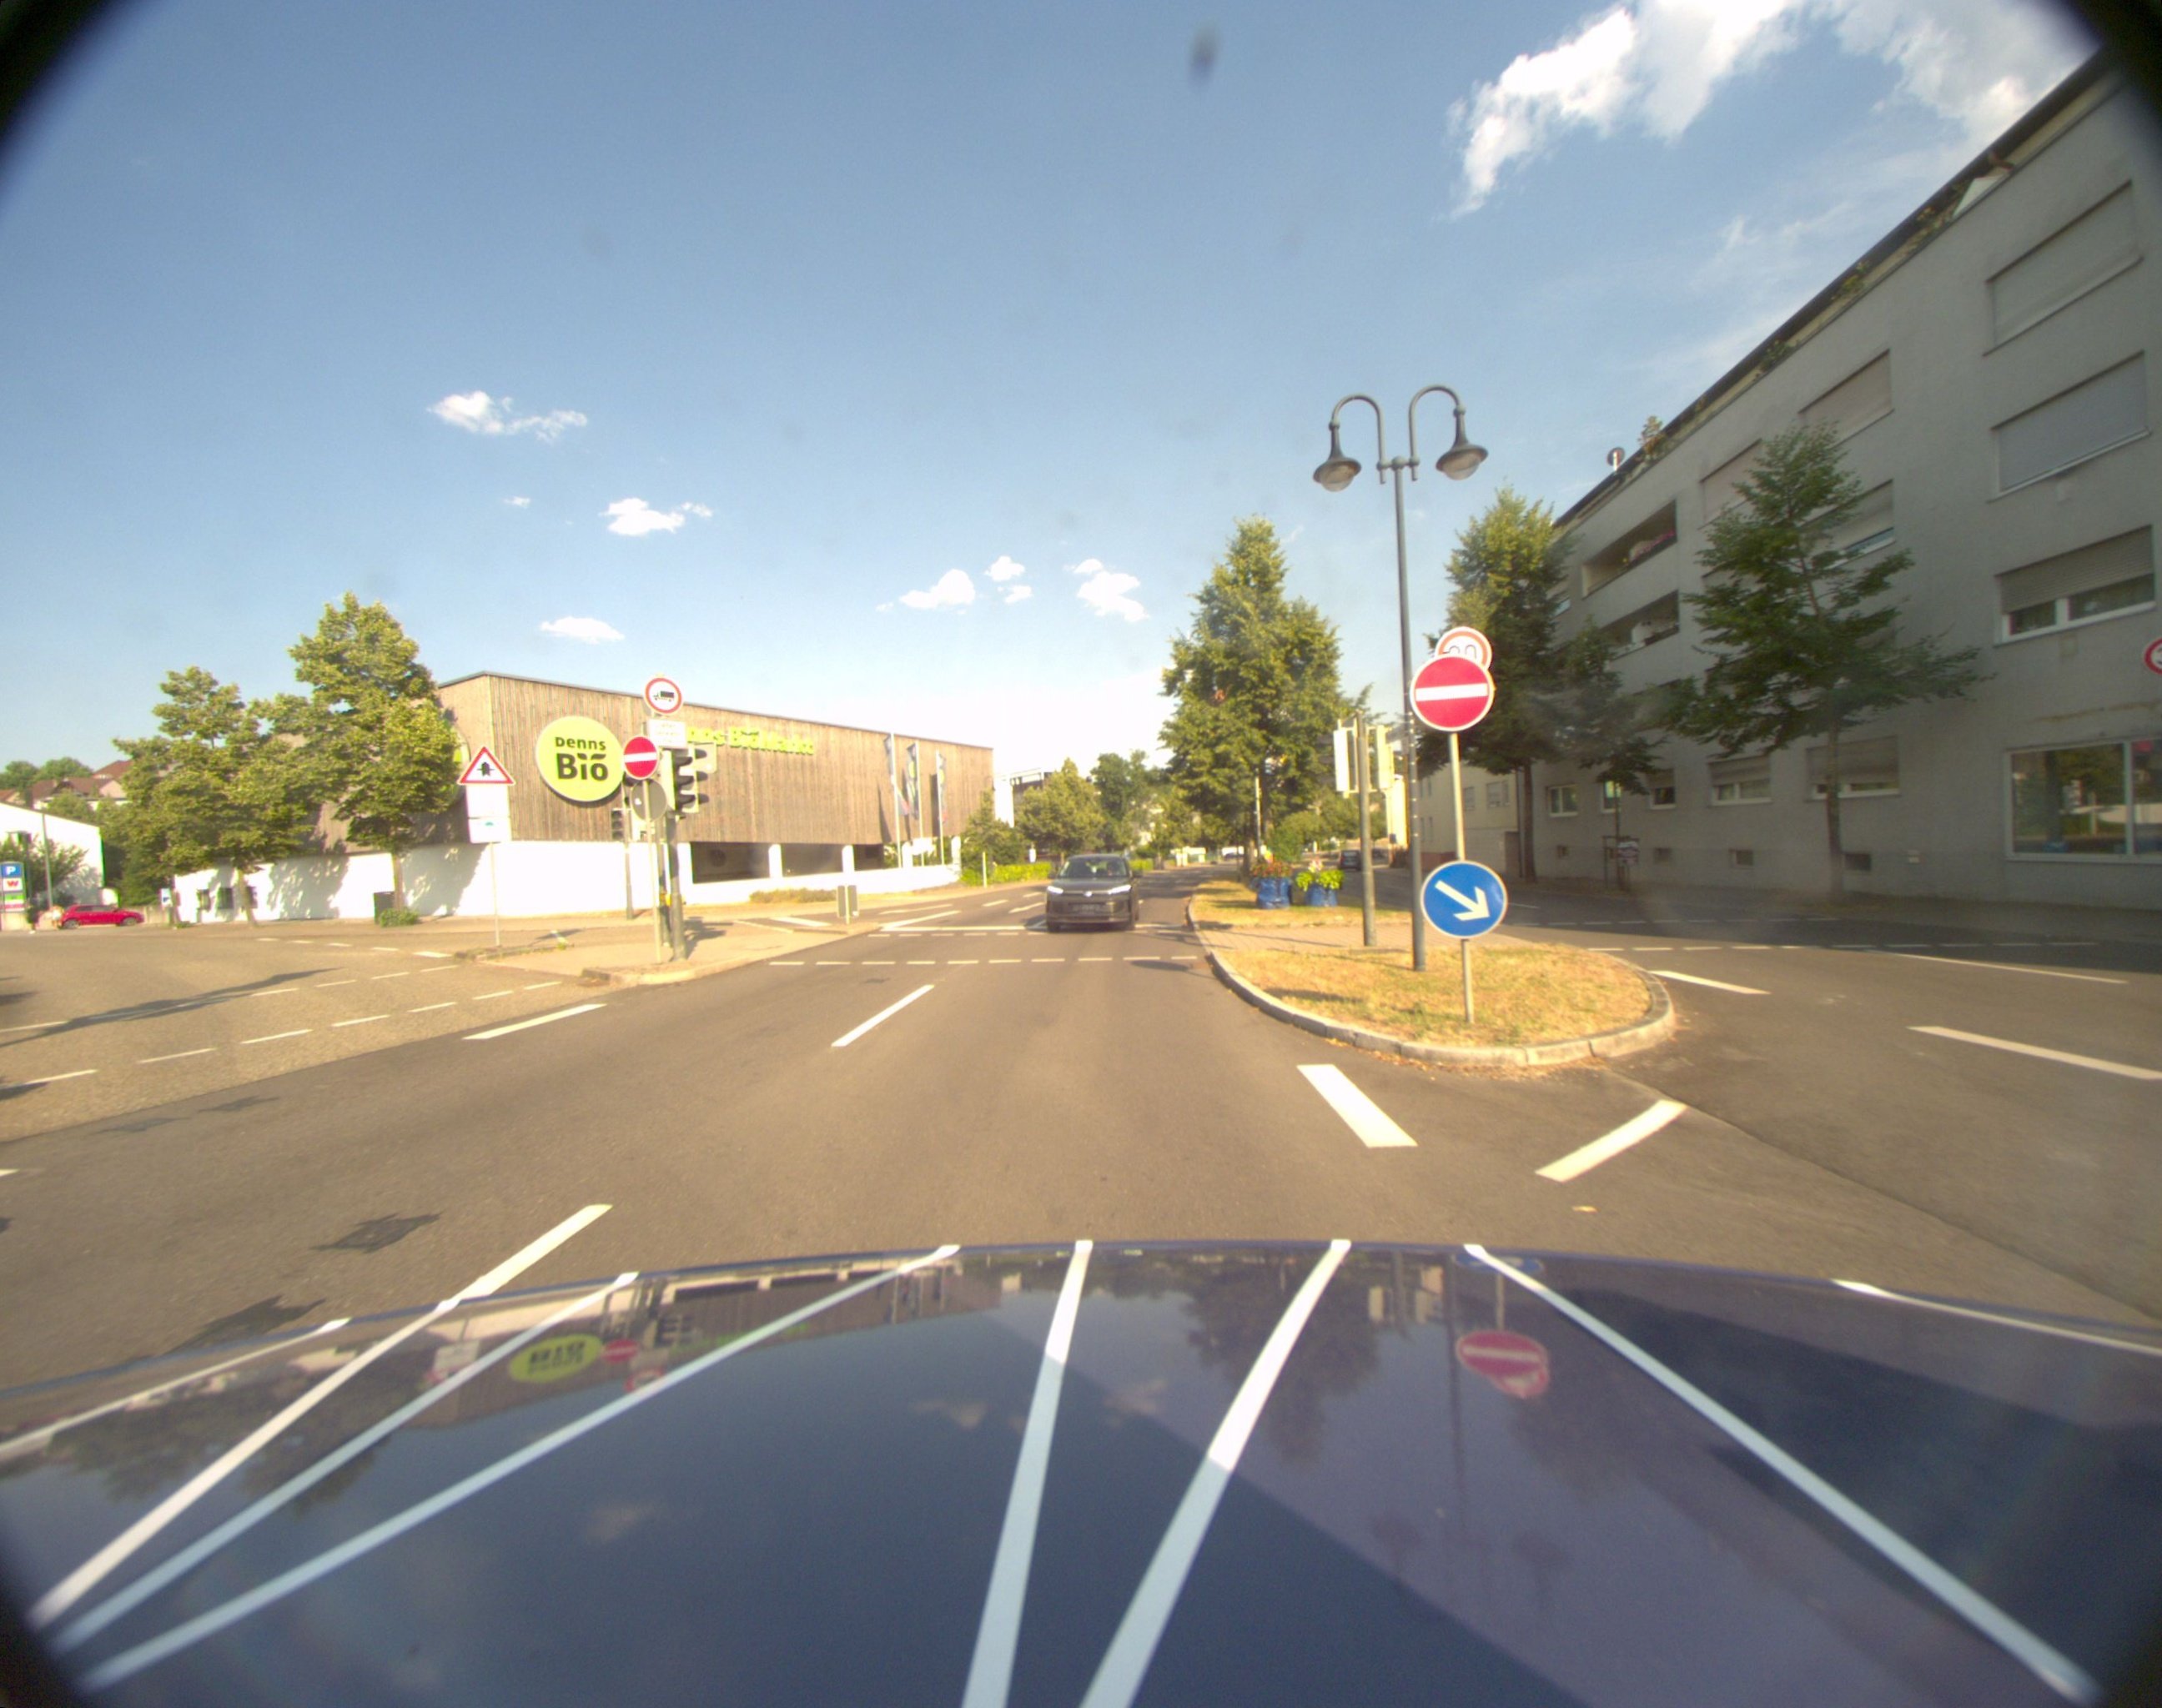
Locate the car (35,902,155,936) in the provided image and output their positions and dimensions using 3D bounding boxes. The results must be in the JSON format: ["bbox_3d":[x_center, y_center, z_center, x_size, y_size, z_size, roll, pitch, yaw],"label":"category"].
[{"bbox_3d":[-62.382,4.061,48.150,1.890,1.713,4.323,-2,0,27],"label":"car"}]

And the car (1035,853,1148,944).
[{"bbox_3d":[0.371,0.845,16.274,1.724,1.605,4.264,-1,1,10],"label":"car"}]

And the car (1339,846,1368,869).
[{"bbox_3d":[22.545,0.255,62.969,1.855,1.726,4.928,-1,1,15],"label":"car"}]
